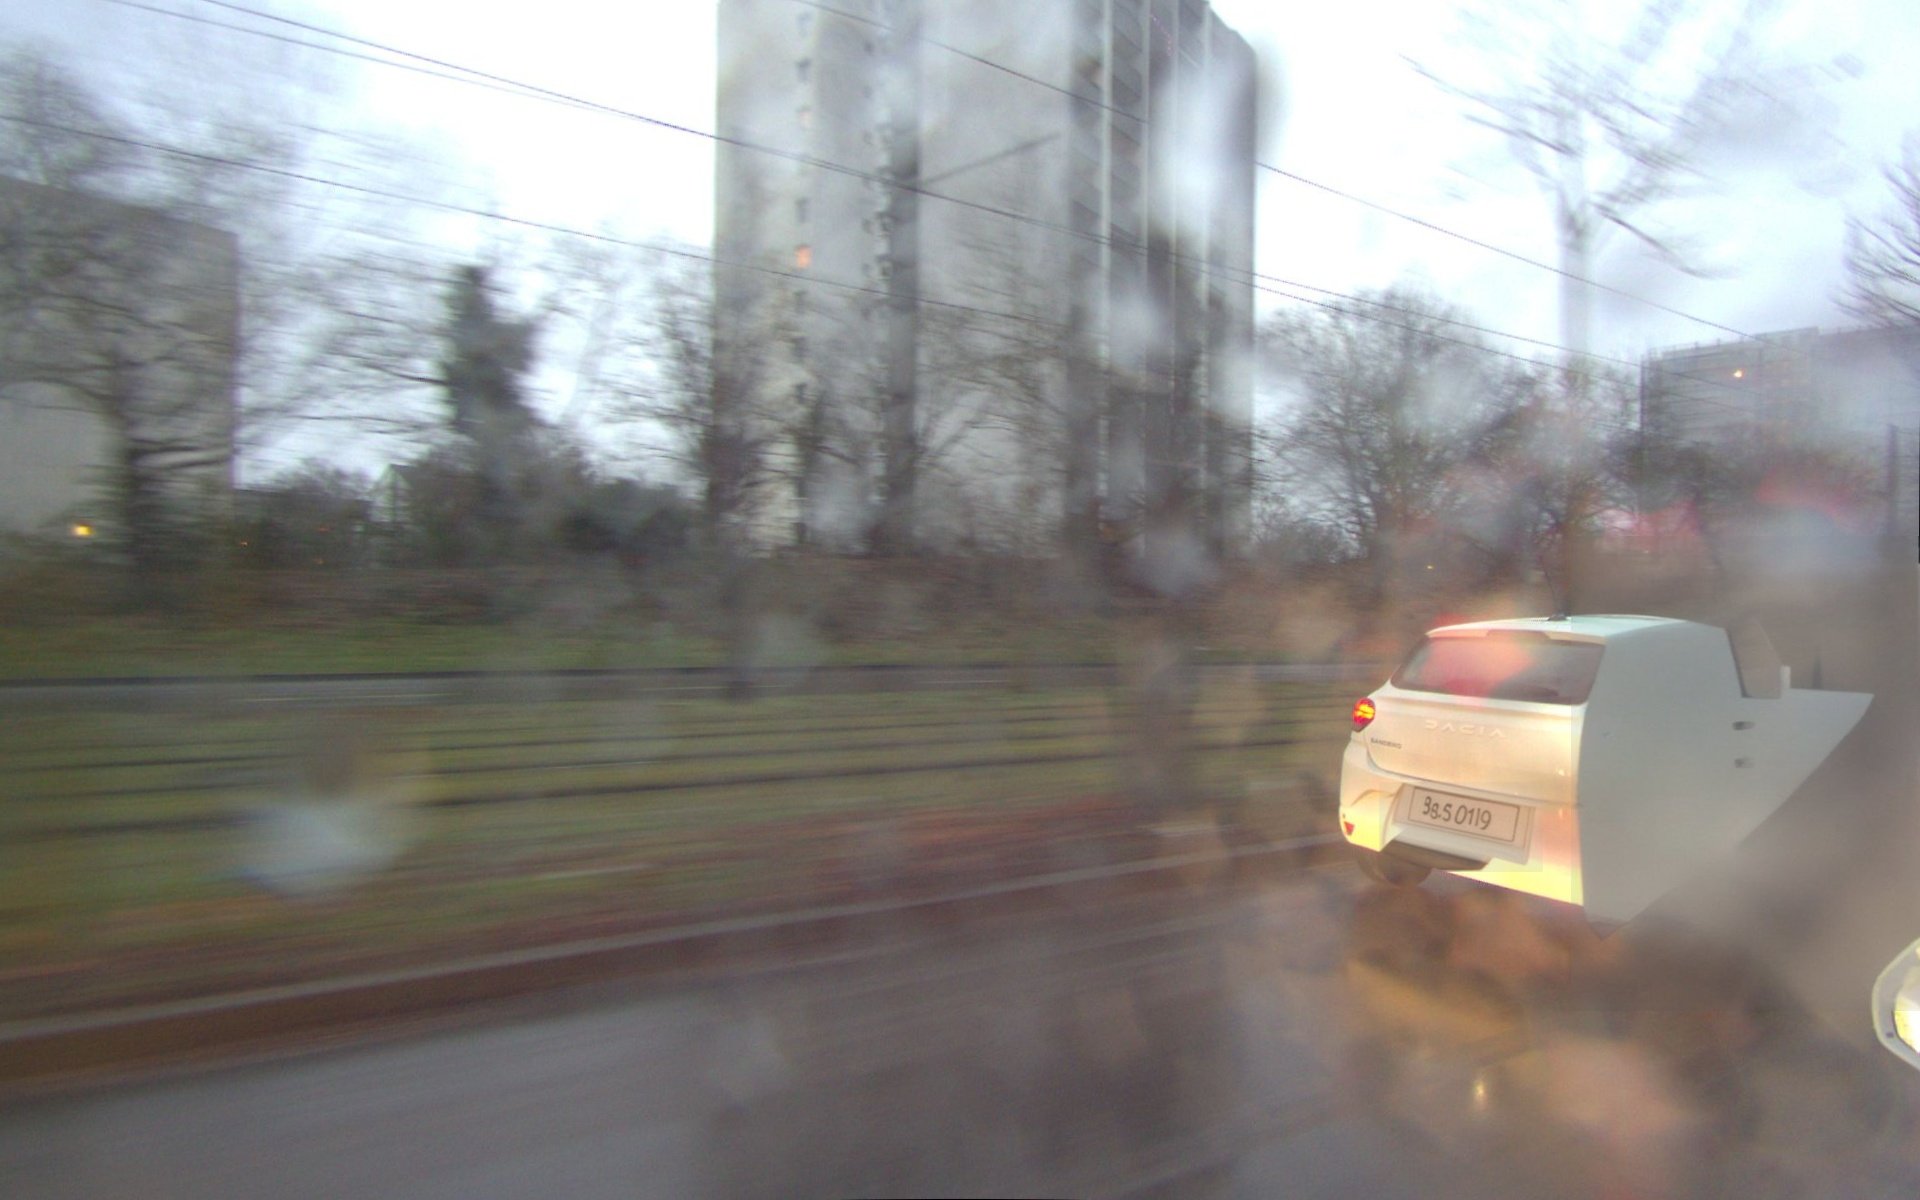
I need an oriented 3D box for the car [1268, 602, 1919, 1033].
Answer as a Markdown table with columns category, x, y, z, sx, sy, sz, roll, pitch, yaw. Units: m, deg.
| category | x | y | z | sx | sy | sz | roll | pitch | yaw |
| --- | --- | --- | --- | --- | --- | --- | --- | --- | --- |
| car | 3.754 | 0.827 | 5.353 | 4.084 | 1.545 | 1.701 | 1 | -1 | -29 |
